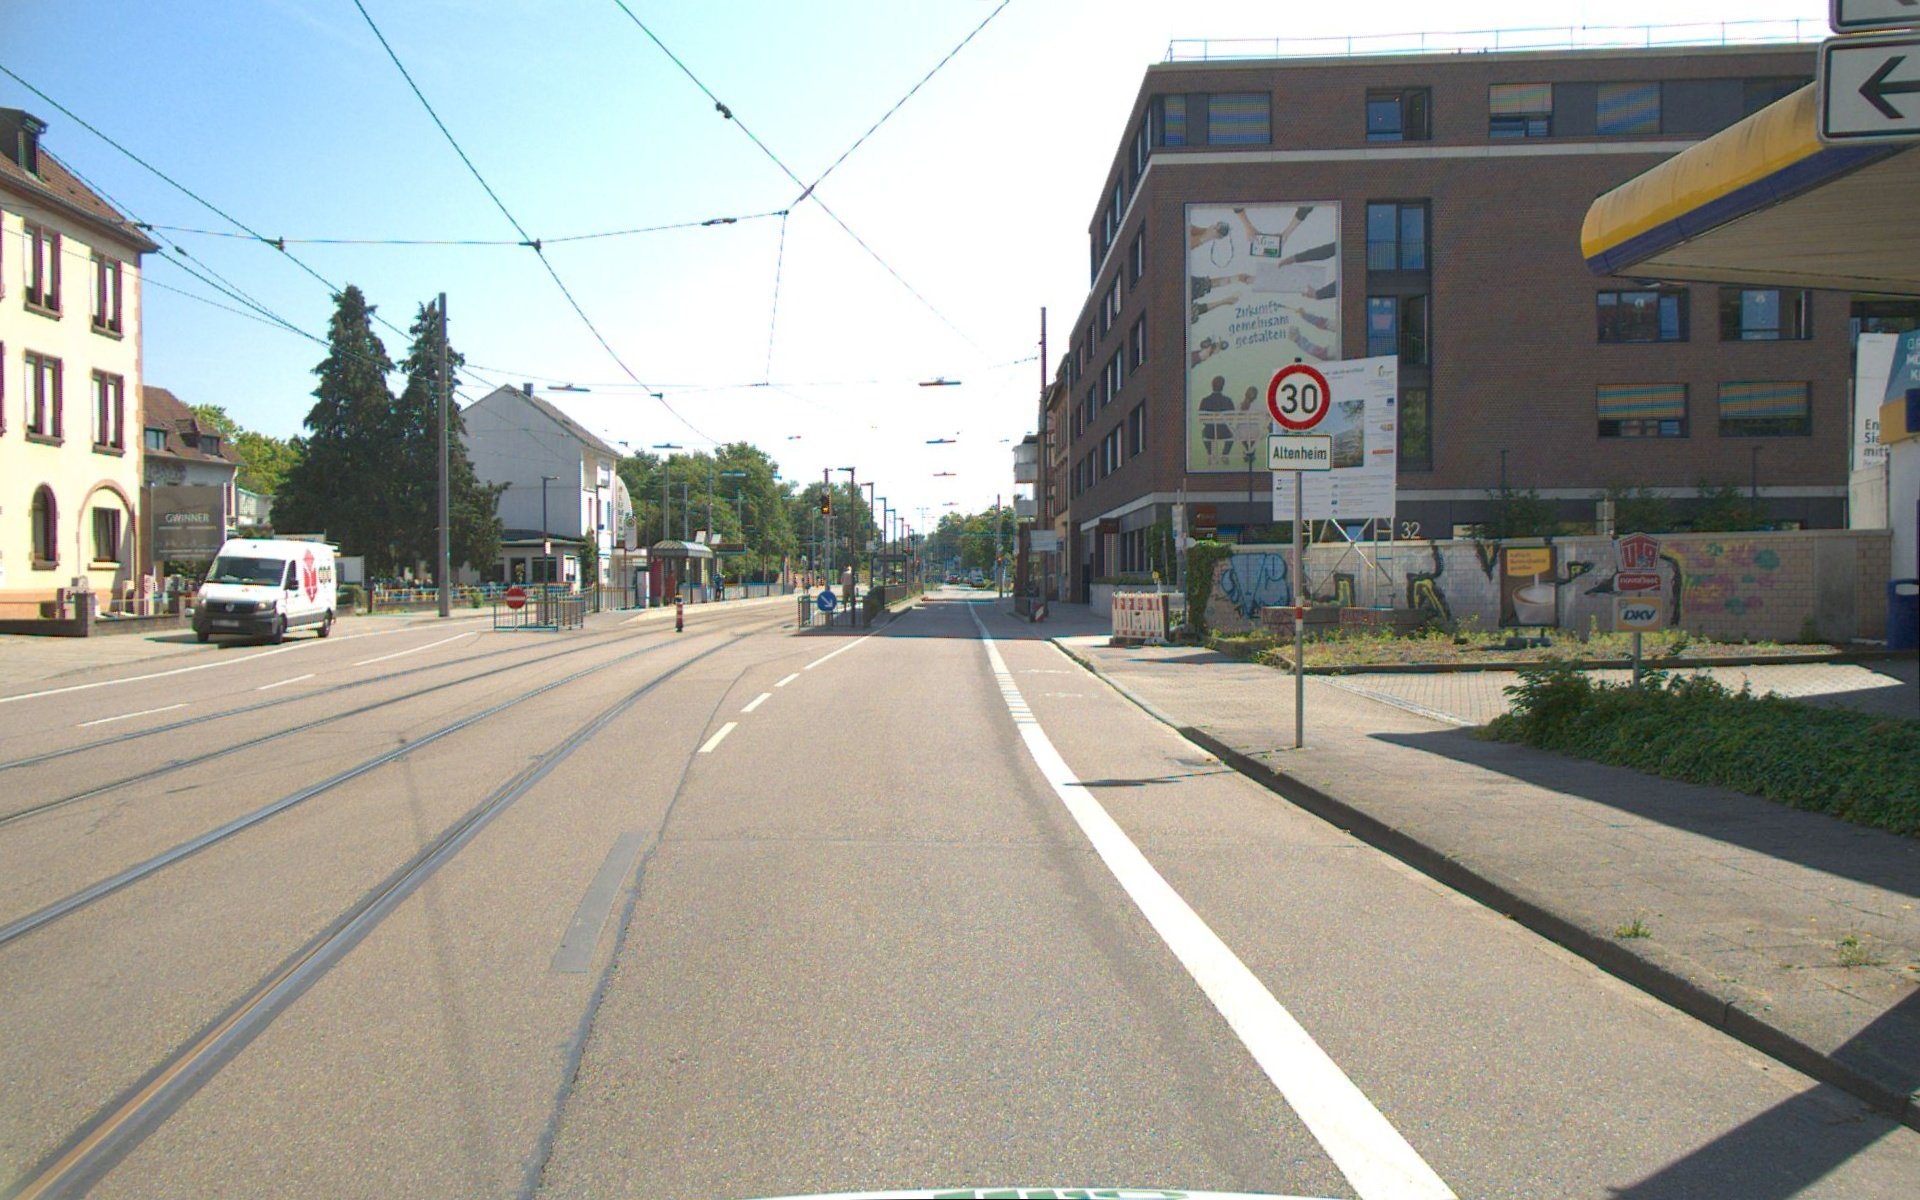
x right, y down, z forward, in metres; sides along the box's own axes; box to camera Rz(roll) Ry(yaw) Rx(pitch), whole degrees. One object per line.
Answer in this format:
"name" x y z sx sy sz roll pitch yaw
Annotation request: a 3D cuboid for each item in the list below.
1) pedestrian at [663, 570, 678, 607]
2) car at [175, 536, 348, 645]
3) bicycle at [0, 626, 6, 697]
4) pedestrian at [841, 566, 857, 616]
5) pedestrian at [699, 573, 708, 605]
"pedestrian" -13.460 -0.548 76.915 0.692 1.719 0.416 -1 1 -8
"car" -18.001 -0.272 43.042 2.284 2.580 6.499 1 1 -6
"bicycle" -13.868 0.882 22.296 0.596 1.001 2.165 -1 0 5
"pedestrian" -4.046 -0.328 60.359 0.545 1.790 0.792 -1 1 -6
"pedestrian" -13.608 -0.582 87.829 0.408 1.719 0.705 -1 1 -14
